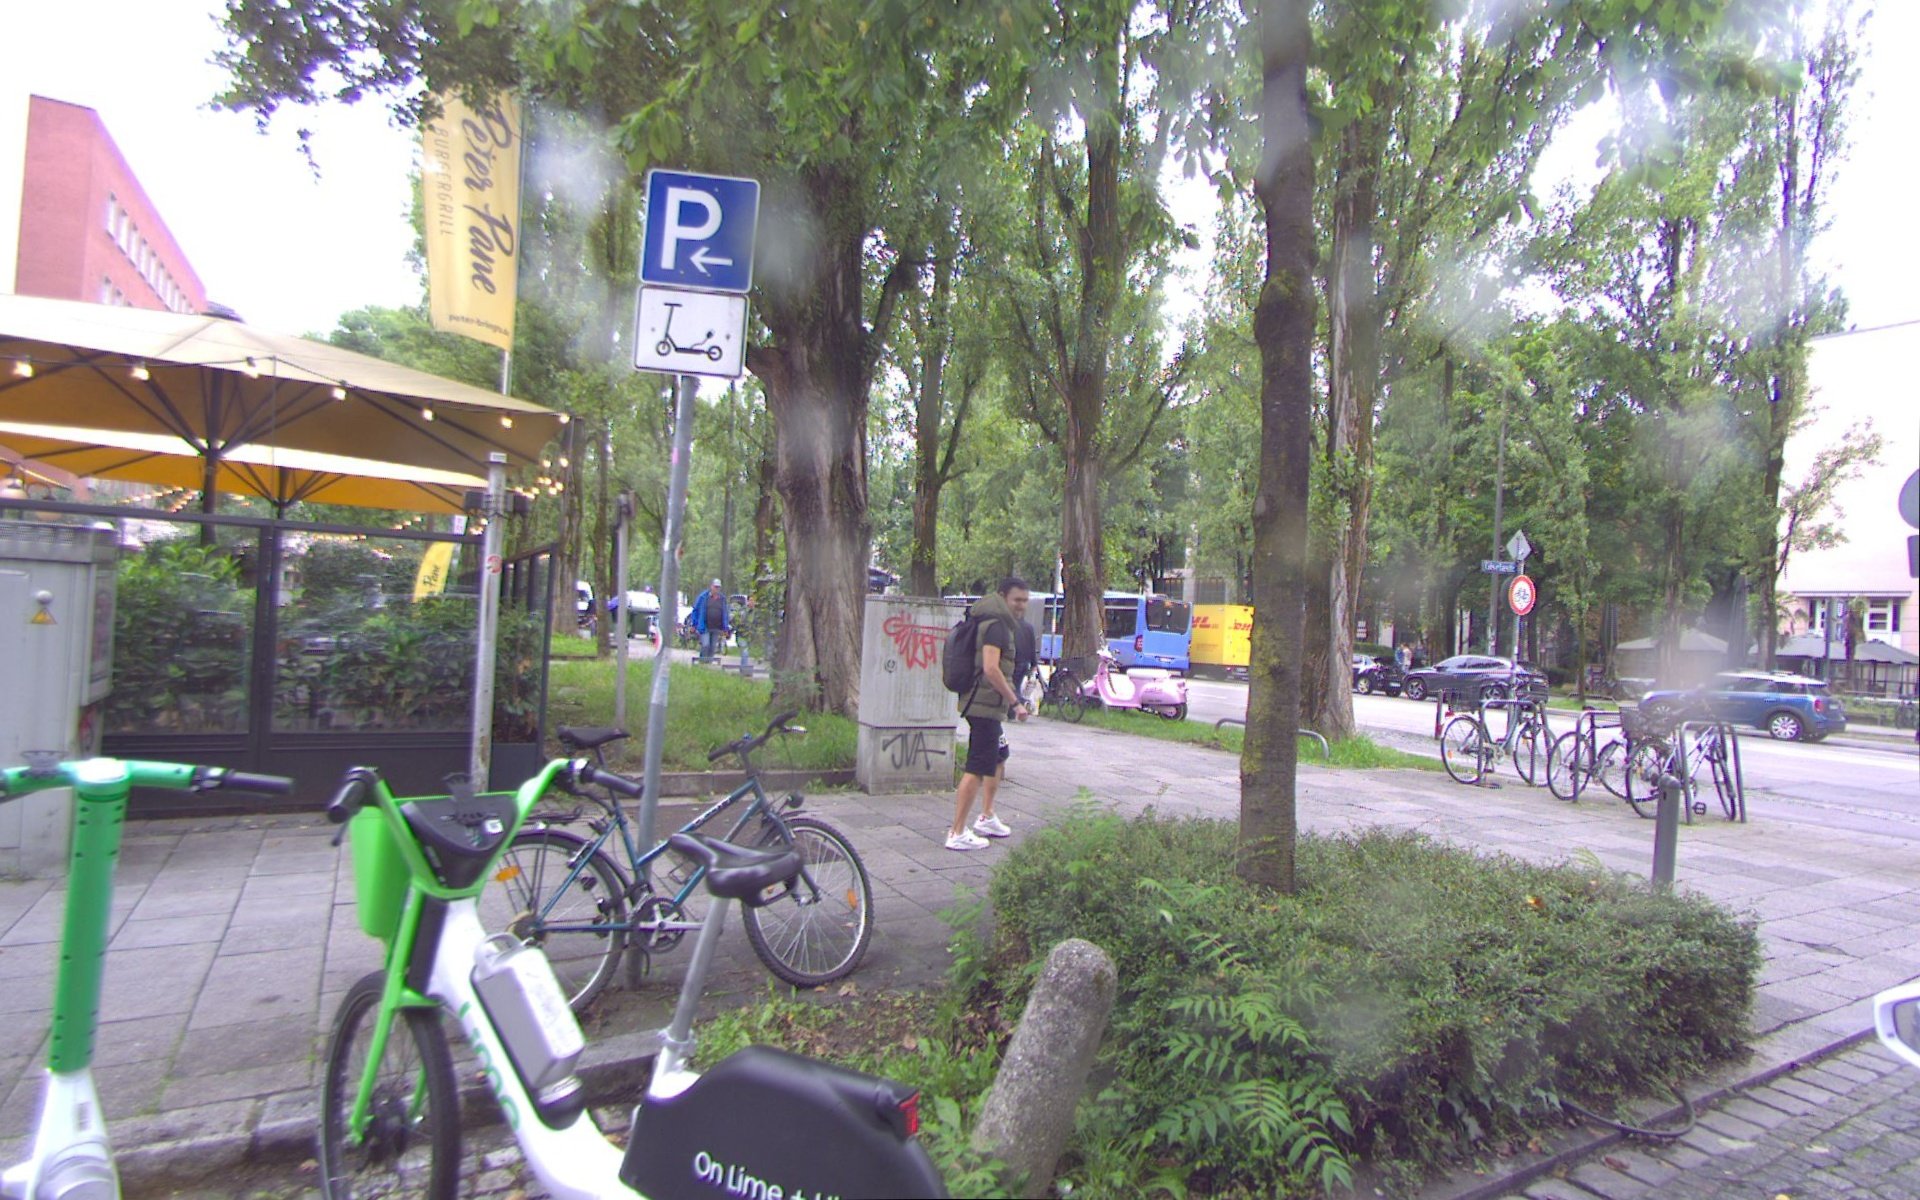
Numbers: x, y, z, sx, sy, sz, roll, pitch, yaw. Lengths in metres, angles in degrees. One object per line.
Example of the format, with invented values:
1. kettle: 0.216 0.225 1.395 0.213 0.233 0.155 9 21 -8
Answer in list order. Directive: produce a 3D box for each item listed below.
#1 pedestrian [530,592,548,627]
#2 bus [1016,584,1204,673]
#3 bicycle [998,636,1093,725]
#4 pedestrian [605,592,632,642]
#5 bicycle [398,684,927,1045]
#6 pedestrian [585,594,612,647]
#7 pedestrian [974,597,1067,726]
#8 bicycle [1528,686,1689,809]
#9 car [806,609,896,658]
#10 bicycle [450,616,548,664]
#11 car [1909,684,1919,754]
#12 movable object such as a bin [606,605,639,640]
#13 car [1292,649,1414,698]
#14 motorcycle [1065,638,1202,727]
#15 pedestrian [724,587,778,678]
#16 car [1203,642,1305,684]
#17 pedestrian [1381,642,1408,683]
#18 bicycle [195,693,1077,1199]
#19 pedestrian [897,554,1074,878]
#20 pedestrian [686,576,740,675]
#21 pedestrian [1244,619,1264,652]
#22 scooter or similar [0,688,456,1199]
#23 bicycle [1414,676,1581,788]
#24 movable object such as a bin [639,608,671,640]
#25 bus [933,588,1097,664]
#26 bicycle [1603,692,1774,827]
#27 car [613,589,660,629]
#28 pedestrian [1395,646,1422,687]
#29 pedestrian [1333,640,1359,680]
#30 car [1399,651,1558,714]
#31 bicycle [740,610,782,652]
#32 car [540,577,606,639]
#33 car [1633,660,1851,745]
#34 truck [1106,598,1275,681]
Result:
1. pedestrian: -21.195 0.458 50.591 0.726 1.715 0.642 4 -1 -26
2. bus: 5.734 1.079 40.269 2.891 3.091 8.456 4 -2 -28
3. bicycle: 1.269 1.197 15.261 0.576 1.204 1.603 4 -1 -29
4. pedestrian: -12.134 0.606 35.708 0.726 1.715 0.642 4 -1 -26
5. bicycle: -1.035 0.866 3.708 1.744 1.035 0.549 4 -1 -32
6. pedestrian: -12.134 0.680 33.713 0.726 1.715 0.642 4 -1 -26
7. pedestrian: 0.838 0.854 14.091 0.849 1.734 0.951 4 -2 -31
8. bicycle: 6.445 1.450 9.963 1.680 1.107 0.488 4 -1 -25
9. car: -4.159 1.222 37.821 1.988 1.601 3.970 4 -1 -28
10. bicycle: -9.793 0.861 21.373 1.783 0.924 0.615 4 -1 -33
11. car: 22.971 2.705 20.812 1.772 1.549 4.480 4 -2 -29
12. movable object such as a bin: -14.377 0.959 42.774 1.052 1.423 0.975 4 -2 -32
13. car: 14.145 2.623 36.354 1.772 1.430 3.851 4 -1 -29
14. motorcycle: 2.670 1.243 15.447 1.951 1.211 0.630 3 -1 17
15. pedestrian: -4.127 0.641 19.866 0.634 1.750 0.701 2 -1 37
16. car: 11.909 2.540 40.902 1.772 1.430 3.851 4 -1 -29
17. pedestrian: 19.052 2.738 44.057 0.701 1.736 0.726 4 -1 -29
18. bicycle: -0.711 0.844 1.953 1.731 1.158 0.553 3 -1 29
19. pedestrian: 0.167 0.653 6.097 0.739 1.796 0.704 3 -1 29
20. pedestrian: -4.925 0.510 20.034 0.634 1.933 0.701 2 -1 37
21. pedestrian: 15.769 1.916 53.929 0.701 1.736 0.726 4 -3 -29
22. scooter or similar: -1.387 0.785 1.629 1.407 1.159 0.368 2 -1 37
23. bicycle: 5.829 1.422 10.865 1.957 1.107 0.488 4 -1 -25
24. movable object such as a bin: -13.409 1.053 44.132 1.052 1.329 0.975 4 -2 -32
25. bus: 2.274 1.140 46.878 2.892 3.091 9.723 4 -2 -28
26. bicycle: 6.683 1.444 9.201 1.680 1.107 0.488 4 -1 -25
27. car: -23.348 0.618 72.359 1.989 2.666 5.953 4 -1 -29
28. pedestrian: 19.948 2.966 44.698 0.701 1.736 0.726 4 -1 -29
29. pedestrian: 17.457 2.716 45.399 0.701 1.736 0.726 4 -1 -29
30. car: 16.419 2.591 32.001 1.772 1.621 4.204 4 -2 -29
31. bicycle: -6.334 0.966 31.850 0.577 1.204 2.124 4 -1 -30
32. car: -21.052 0.388 54.516 2.176 3.056 5.949 4 -1 -31
33. car: 20.067 2.591 25.959 1.774 1.754 4.045 6 -2 -30
34. truck: 9.128 1.498 40.669 2.570 2.945 7.027 4 -1 -28
